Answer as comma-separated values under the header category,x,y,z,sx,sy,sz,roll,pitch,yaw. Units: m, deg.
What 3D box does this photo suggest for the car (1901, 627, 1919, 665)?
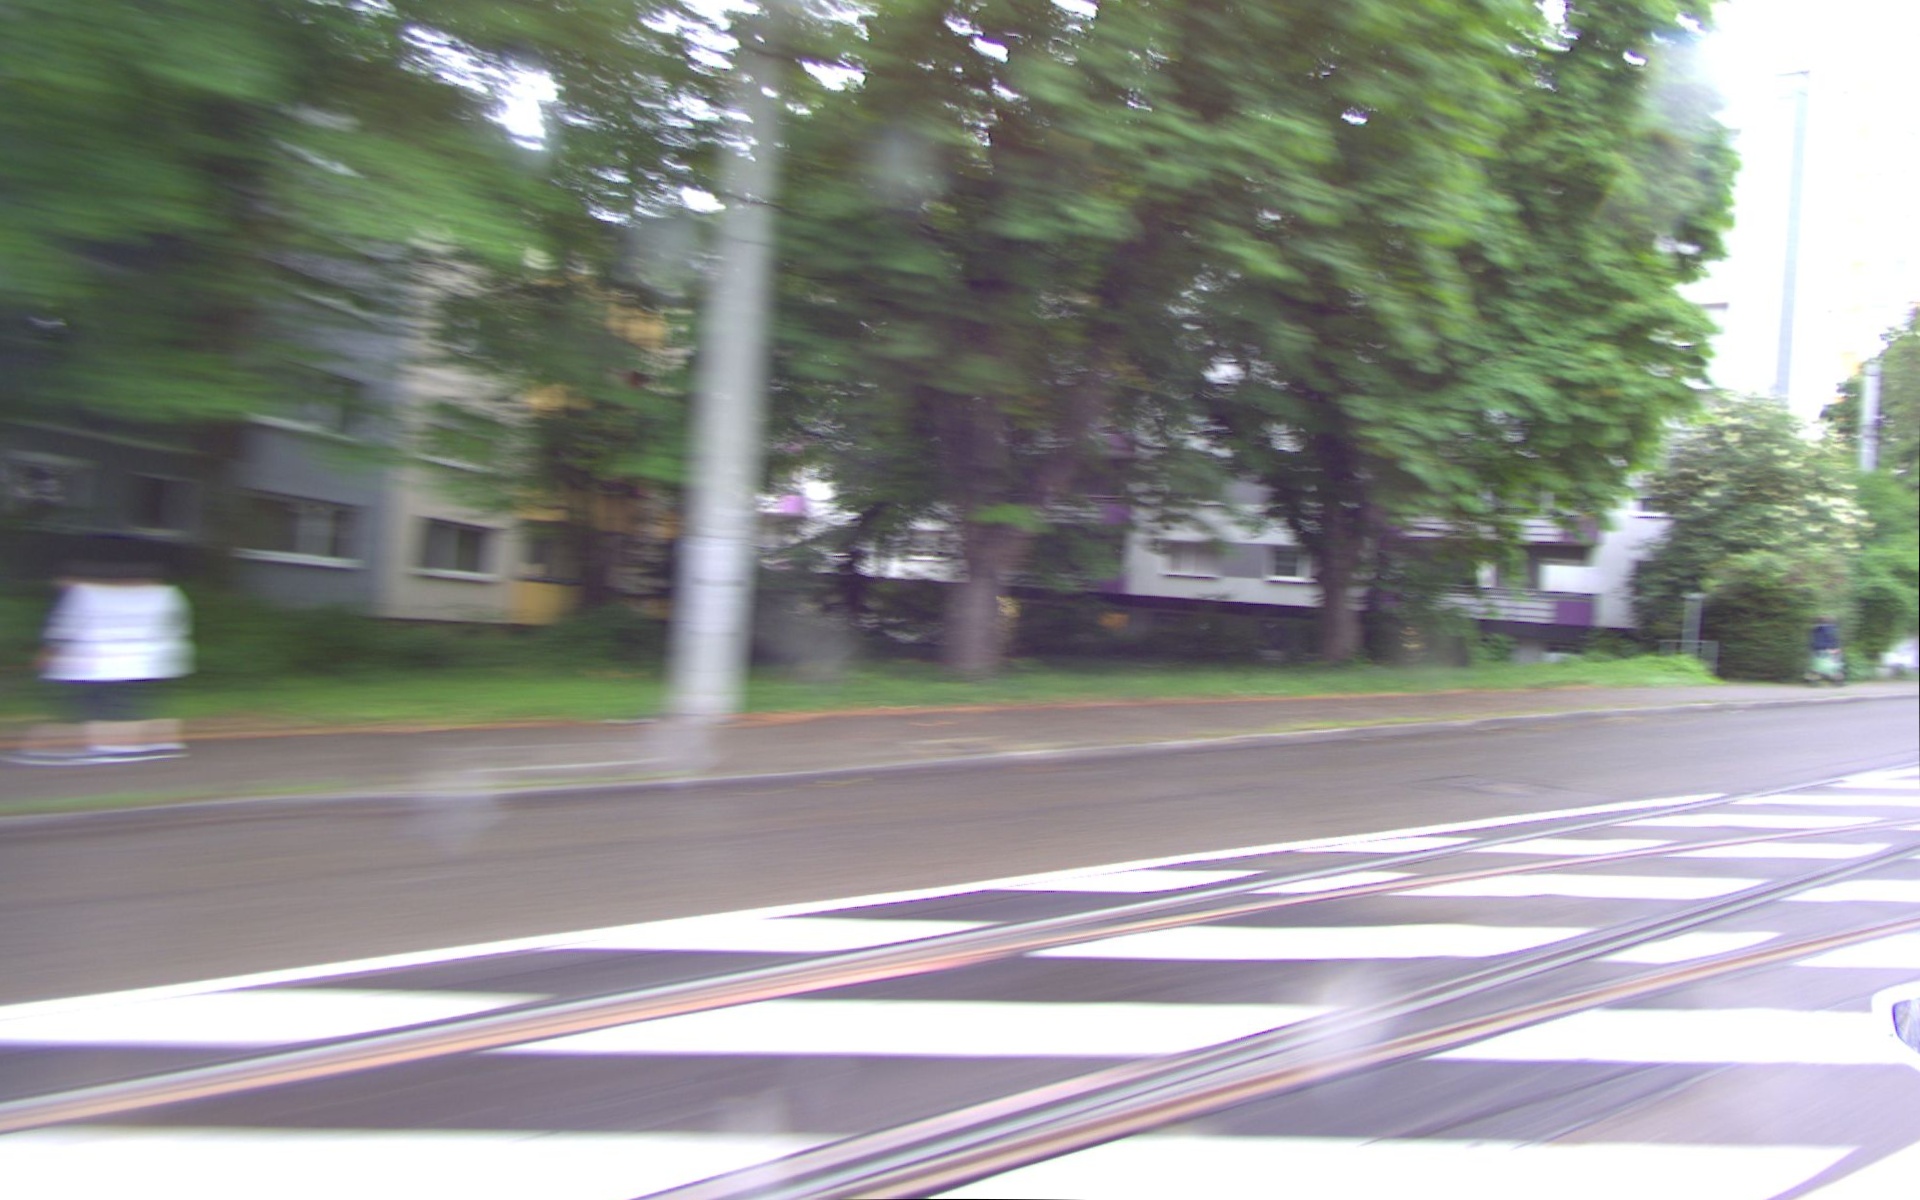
category,x,y,z,sx,sy,sz,roll,pitch,yaw
car,38.005,1.830,37.504,1.652,1.424,3.996,6,-1,-6

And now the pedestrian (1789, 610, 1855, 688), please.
category,x,y,z,sx,sy,sz,roll,pitch,yaw
pedestrian,20.128,1.131,23.457,0.906,1.699,0.736,6,-1,-23

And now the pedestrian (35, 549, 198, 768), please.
category,x,y,z,sx,sy,sz,roll,pitch,yaw
pedestrian,-6.625,0.447,7.932,0.860,1.621,0.579,3,2,-33

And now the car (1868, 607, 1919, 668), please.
category,x,y,z,sx,sy,sz,roll,pitch,yaw
car,31.739,1.315,32.606,3.950,1.705,1.986,6,-1,-27
